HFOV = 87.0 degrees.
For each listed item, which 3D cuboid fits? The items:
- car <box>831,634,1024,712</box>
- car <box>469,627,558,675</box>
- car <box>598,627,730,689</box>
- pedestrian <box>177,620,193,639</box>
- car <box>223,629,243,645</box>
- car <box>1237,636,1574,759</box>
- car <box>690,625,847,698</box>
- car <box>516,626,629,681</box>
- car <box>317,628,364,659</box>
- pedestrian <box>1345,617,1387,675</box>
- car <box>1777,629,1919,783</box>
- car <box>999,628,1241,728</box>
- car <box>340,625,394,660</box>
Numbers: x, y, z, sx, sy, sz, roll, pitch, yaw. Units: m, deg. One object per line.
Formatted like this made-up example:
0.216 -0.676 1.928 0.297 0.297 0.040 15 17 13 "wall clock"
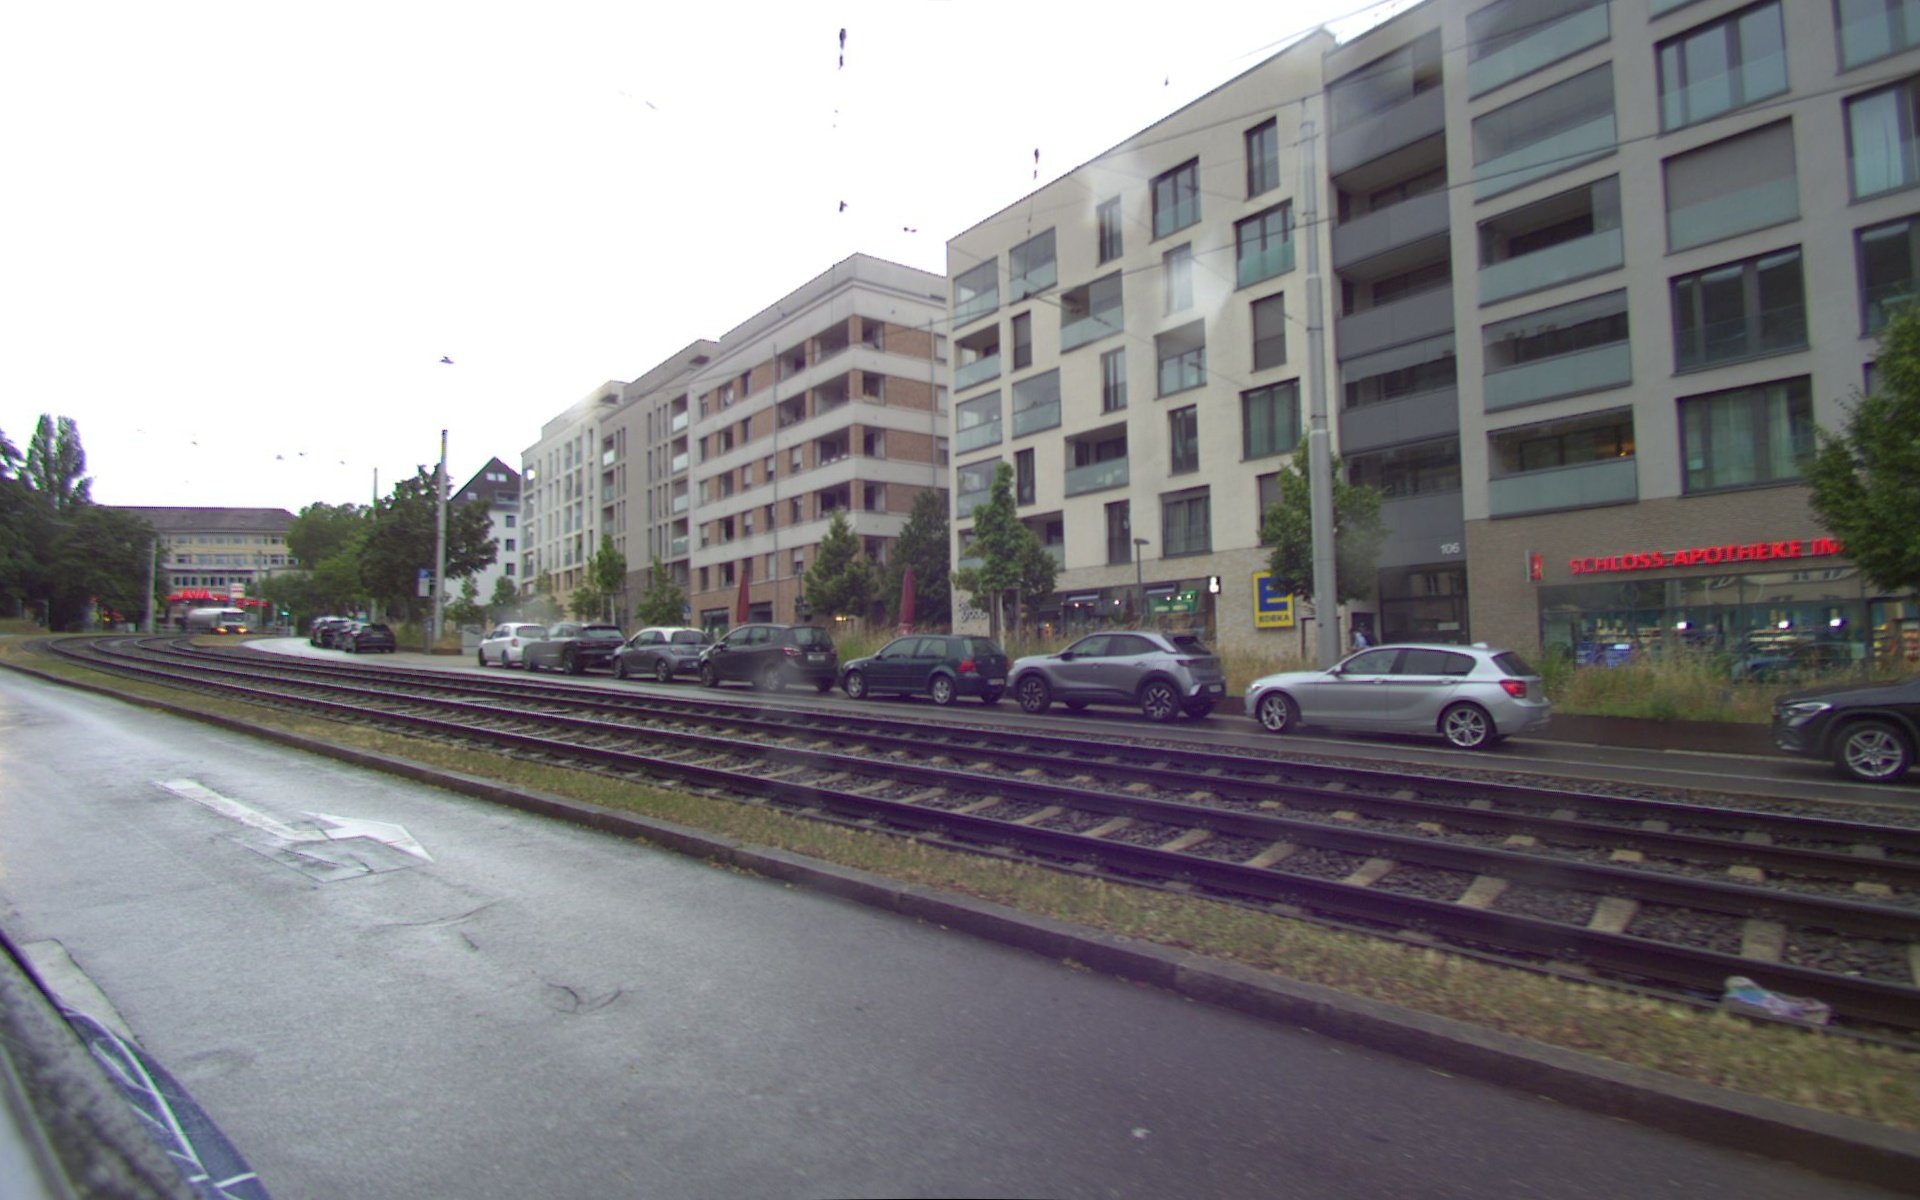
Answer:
-0.748 1.459 21.305 4.030 1.391 1.663 0 -1 41 "car"
-15.463 1.717 34.962 1.626 1.516 3.784 1 -1 -43 "car"
-8.241 1.550 28.054 3.926 1.516 1.663 0 -1 41 "car"
-73.237 2.801 95.648 0.805 1.777 0.750 2 -4 -10 "pedestrian"
-81.928 4.111 114.088 1.641 1.619 3.818 -1 0 -34 "car"
6.519 1.329 15.105 4.327 1.475 1.663 0 -1 41 "car"
-4.685 1.424 24.468 3.926 1.575 1.663 0 -1 41 "car"
-12.035 1.596 31.315 1.660 1.516 4.408 1 -1 -44 "car"
-33.817 2.346 55.198 1.630 1.475 3.676 -1 0 -40 "car"
10.742 1.199 26.768 0.647 1.460 0.805 -1 0 -37 "pedestrian"
11.544 1.154 10.834 4.327 1.616 1.663 0 -1 41 "car"
2.835 1.319 18.314 4.042 1.541 1.665 0 -1 36 "car"
-28.668 2.016 48.850 1.630 1.475 3.676 -1 0 -40 "car"
